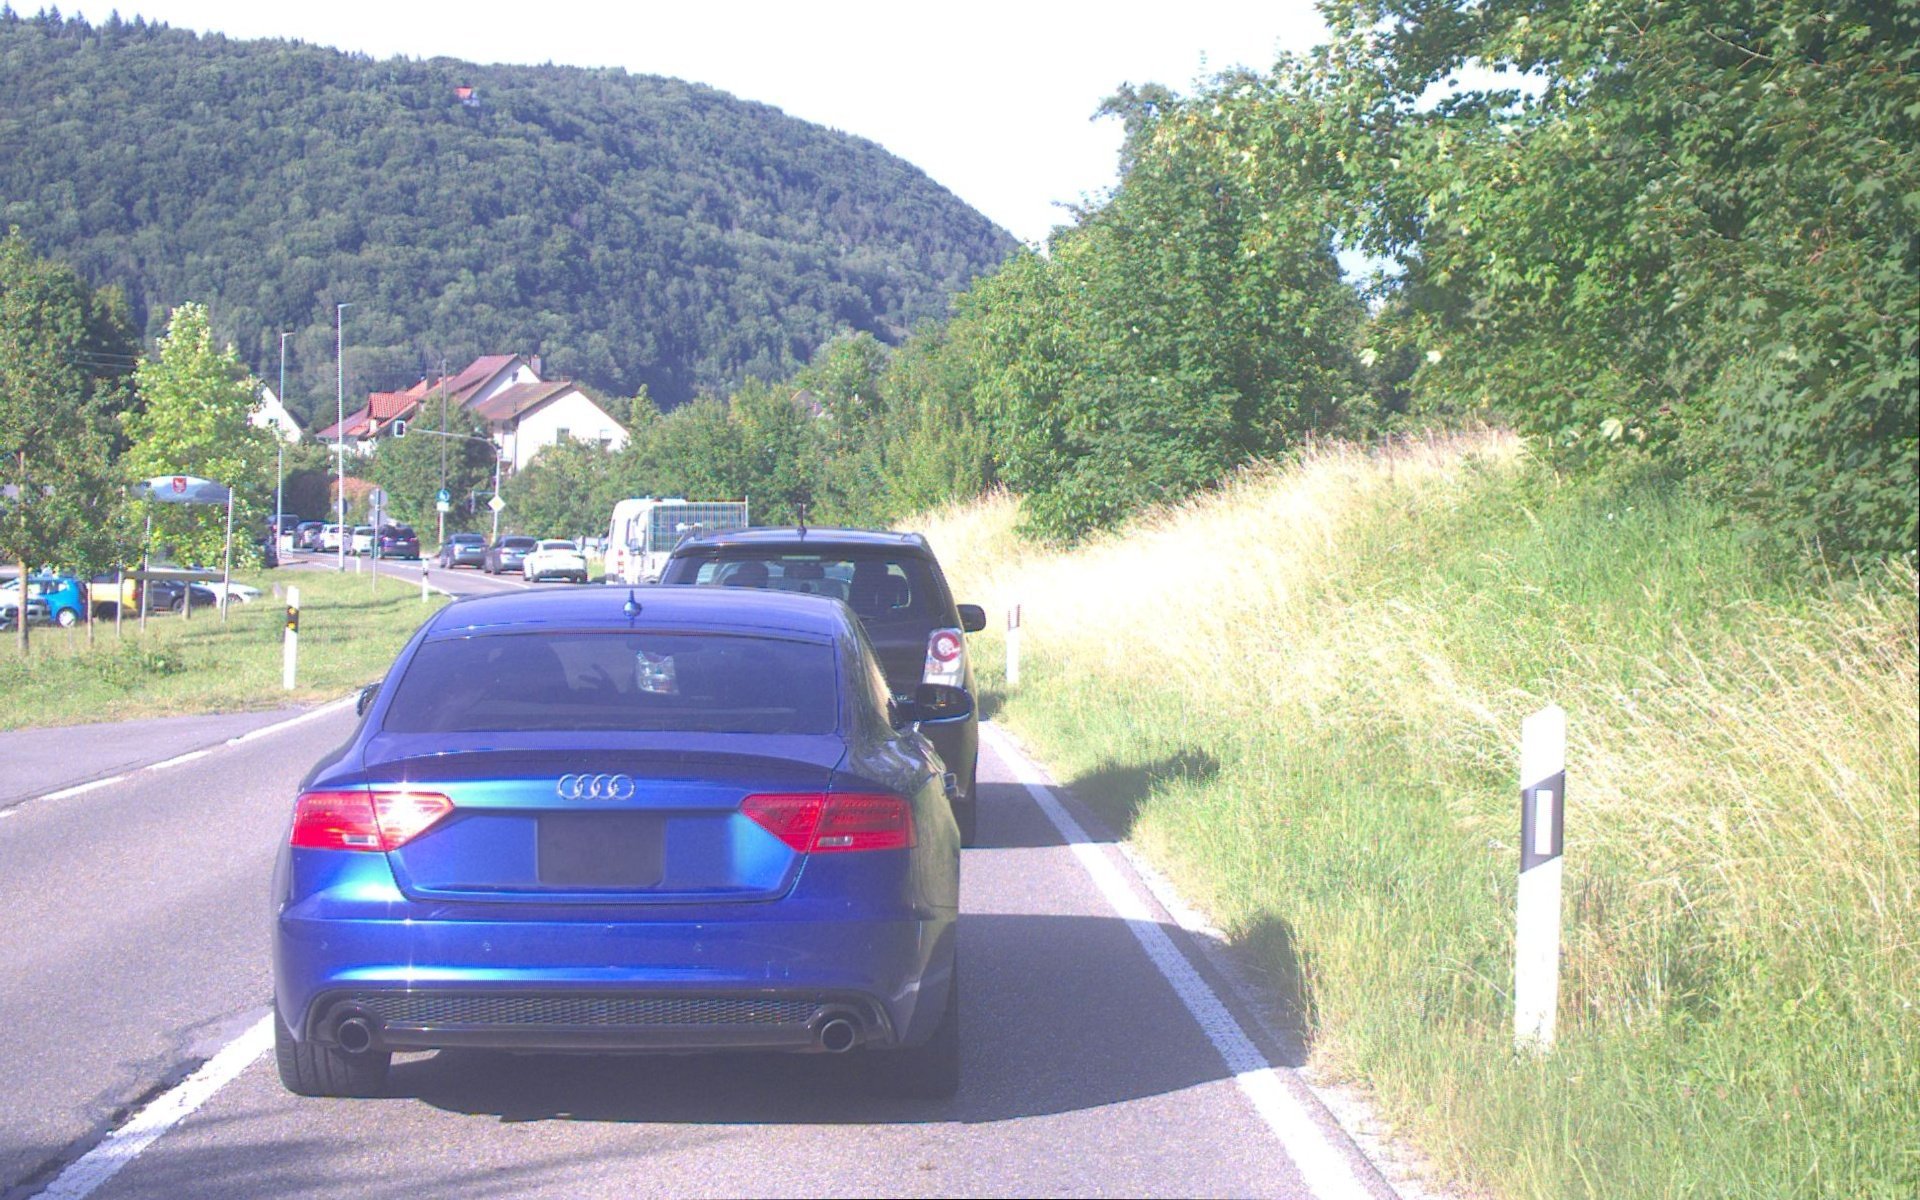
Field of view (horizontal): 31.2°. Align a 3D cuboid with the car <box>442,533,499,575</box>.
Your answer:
[{"bbox_3d":[-20.331,-1.918,142.581,1.845,1.706,4.001,1,0,-15],"label":"car"}]

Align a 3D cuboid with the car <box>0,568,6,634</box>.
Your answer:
[{"bbox_3d":[-26.843,0.011,88.608,3.986,1.705,2.000,1,0,-3],"label":"car"}]

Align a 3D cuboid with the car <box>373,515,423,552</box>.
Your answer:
[{"bbox_3d":[-26.580,-3.140,162.576,1.845,1.706,4.001,1,0,-16],"label":"car"}]

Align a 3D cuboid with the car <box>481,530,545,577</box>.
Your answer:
[{"bbox_3d":[-16.737,-1.745,128.646,1.845,1.706,4.001,1,0,-15],"label":"car"}]

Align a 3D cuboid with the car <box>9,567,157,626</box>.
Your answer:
[{"bbox_3d":[-26.511,-0.122,104.011,3.986,1.705,2.000,1,0,-3],"label":"car"}]

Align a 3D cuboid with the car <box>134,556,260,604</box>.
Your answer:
[{"bbox_3d":[-26.311,-0.692,118.571,3.986,1.573,1.753,1,0,-3],"label":"car"}]

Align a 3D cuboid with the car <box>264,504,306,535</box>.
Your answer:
[{"bbox_3d":[-38.480,-4.561,195.937,1.845,1.706,4.001,1,0,-18],"label":"car"}]

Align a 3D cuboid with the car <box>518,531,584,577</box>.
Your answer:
[{"bbox_3d":[-13.761,-1.547,115.599,1.845,1.477,4.001,1,0,-12],"label":"car"}]

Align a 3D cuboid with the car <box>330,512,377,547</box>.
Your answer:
[{"bbox_3d":[-30.448,-3.530,172.519,1.845,1.706,4.001,1,0,-17],"label":"car"}]

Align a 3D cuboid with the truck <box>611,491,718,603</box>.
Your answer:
[{"bbox_3d":[-7.181,-1.260,83.031,2.229,2.561,6.709,1,0,-8],"label":"truck"}]

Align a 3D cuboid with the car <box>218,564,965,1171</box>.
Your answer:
[{"bbox_3d":[-0.878,0.621,10.130,1.754,1.425,3.846,1,0,0],"label":"car"}]

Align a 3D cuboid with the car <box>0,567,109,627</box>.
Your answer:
[{"bbox_3d":[-27.312,-0.109,101.336,3.986,1.705,2.000,1,0,-3],"label":"car"}]

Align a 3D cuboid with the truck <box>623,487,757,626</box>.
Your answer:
[{"bbox_3d":[-5.333,-0.846,67.143,2.229,2.561,6.105,1,0,-8],"label":"truck"}]

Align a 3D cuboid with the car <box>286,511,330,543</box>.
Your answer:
[{"bbox_3d":[-35.839,-4.011,188.942,1.845,1.706,4.001,1,0,-18],"label":"car"}]

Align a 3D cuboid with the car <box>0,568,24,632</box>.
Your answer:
[{"bbox_3d":[-27.365,-0.029,92.264,3.986,1.705,2.000,1,0,-3],"label":"car"}]

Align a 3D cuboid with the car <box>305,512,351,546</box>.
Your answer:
[{"bbox_3d":[-33.272,-3.731,180.855,1.845,1.706,4.001,1,0,-18],"label":"car"}]

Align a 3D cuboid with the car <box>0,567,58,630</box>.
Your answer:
[{"bbox_3d":[-27.302,-0.057,95.549,3.986,1.705,2.000,1,0,-3],"label":"car"}]

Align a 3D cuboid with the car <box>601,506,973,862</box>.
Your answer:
[{"bbox_3d":[-0.821,0.383,18.352,1.754,1.675,3.846,1,0,0],"label":"car"}]
